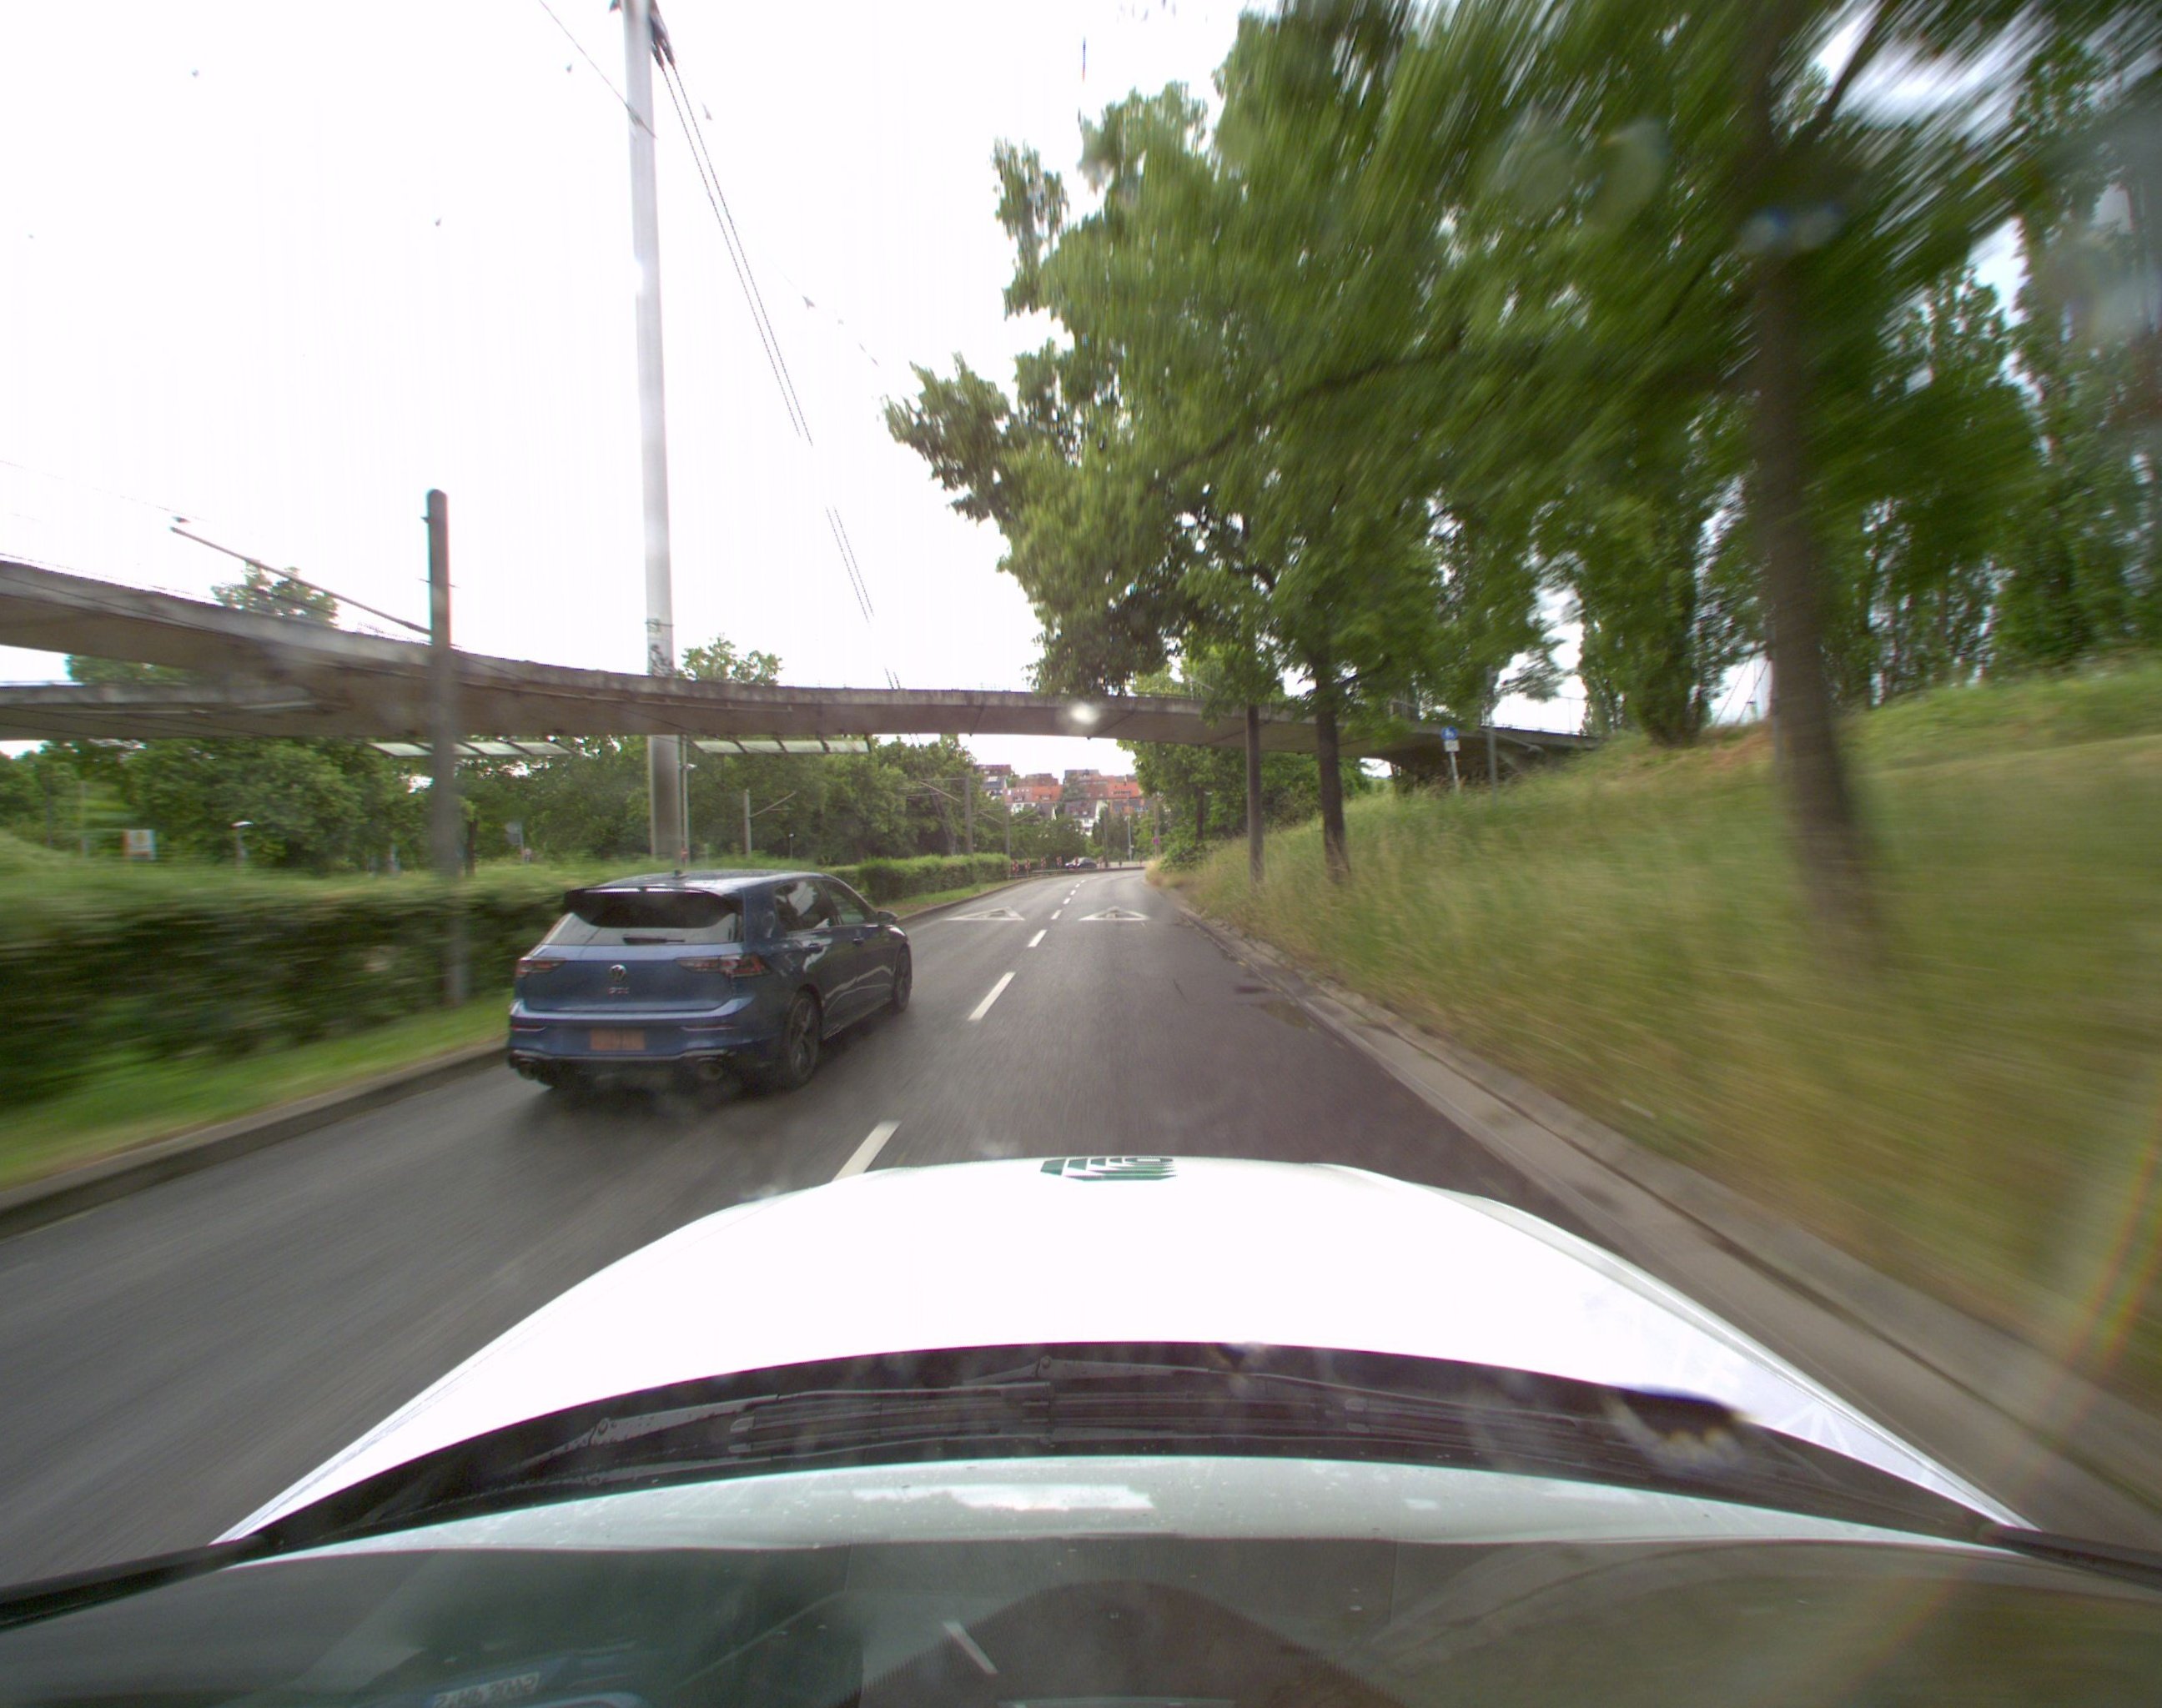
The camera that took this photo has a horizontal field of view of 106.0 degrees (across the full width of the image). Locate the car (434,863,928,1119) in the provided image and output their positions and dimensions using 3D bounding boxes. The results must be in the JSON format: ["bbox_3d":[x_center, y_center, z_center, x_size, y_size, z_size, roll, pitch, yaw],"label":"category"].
[{"bbox_3d":[-2.667,0.799,6.756,1.801,1.378,4.349,-1,0,2],"label":"car"}]

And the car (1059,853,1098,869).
[{"bbox_3d":[-0.287,0.749,89.042,1.974,1.409,4.025,-4,0,43],"label":"car"}]
